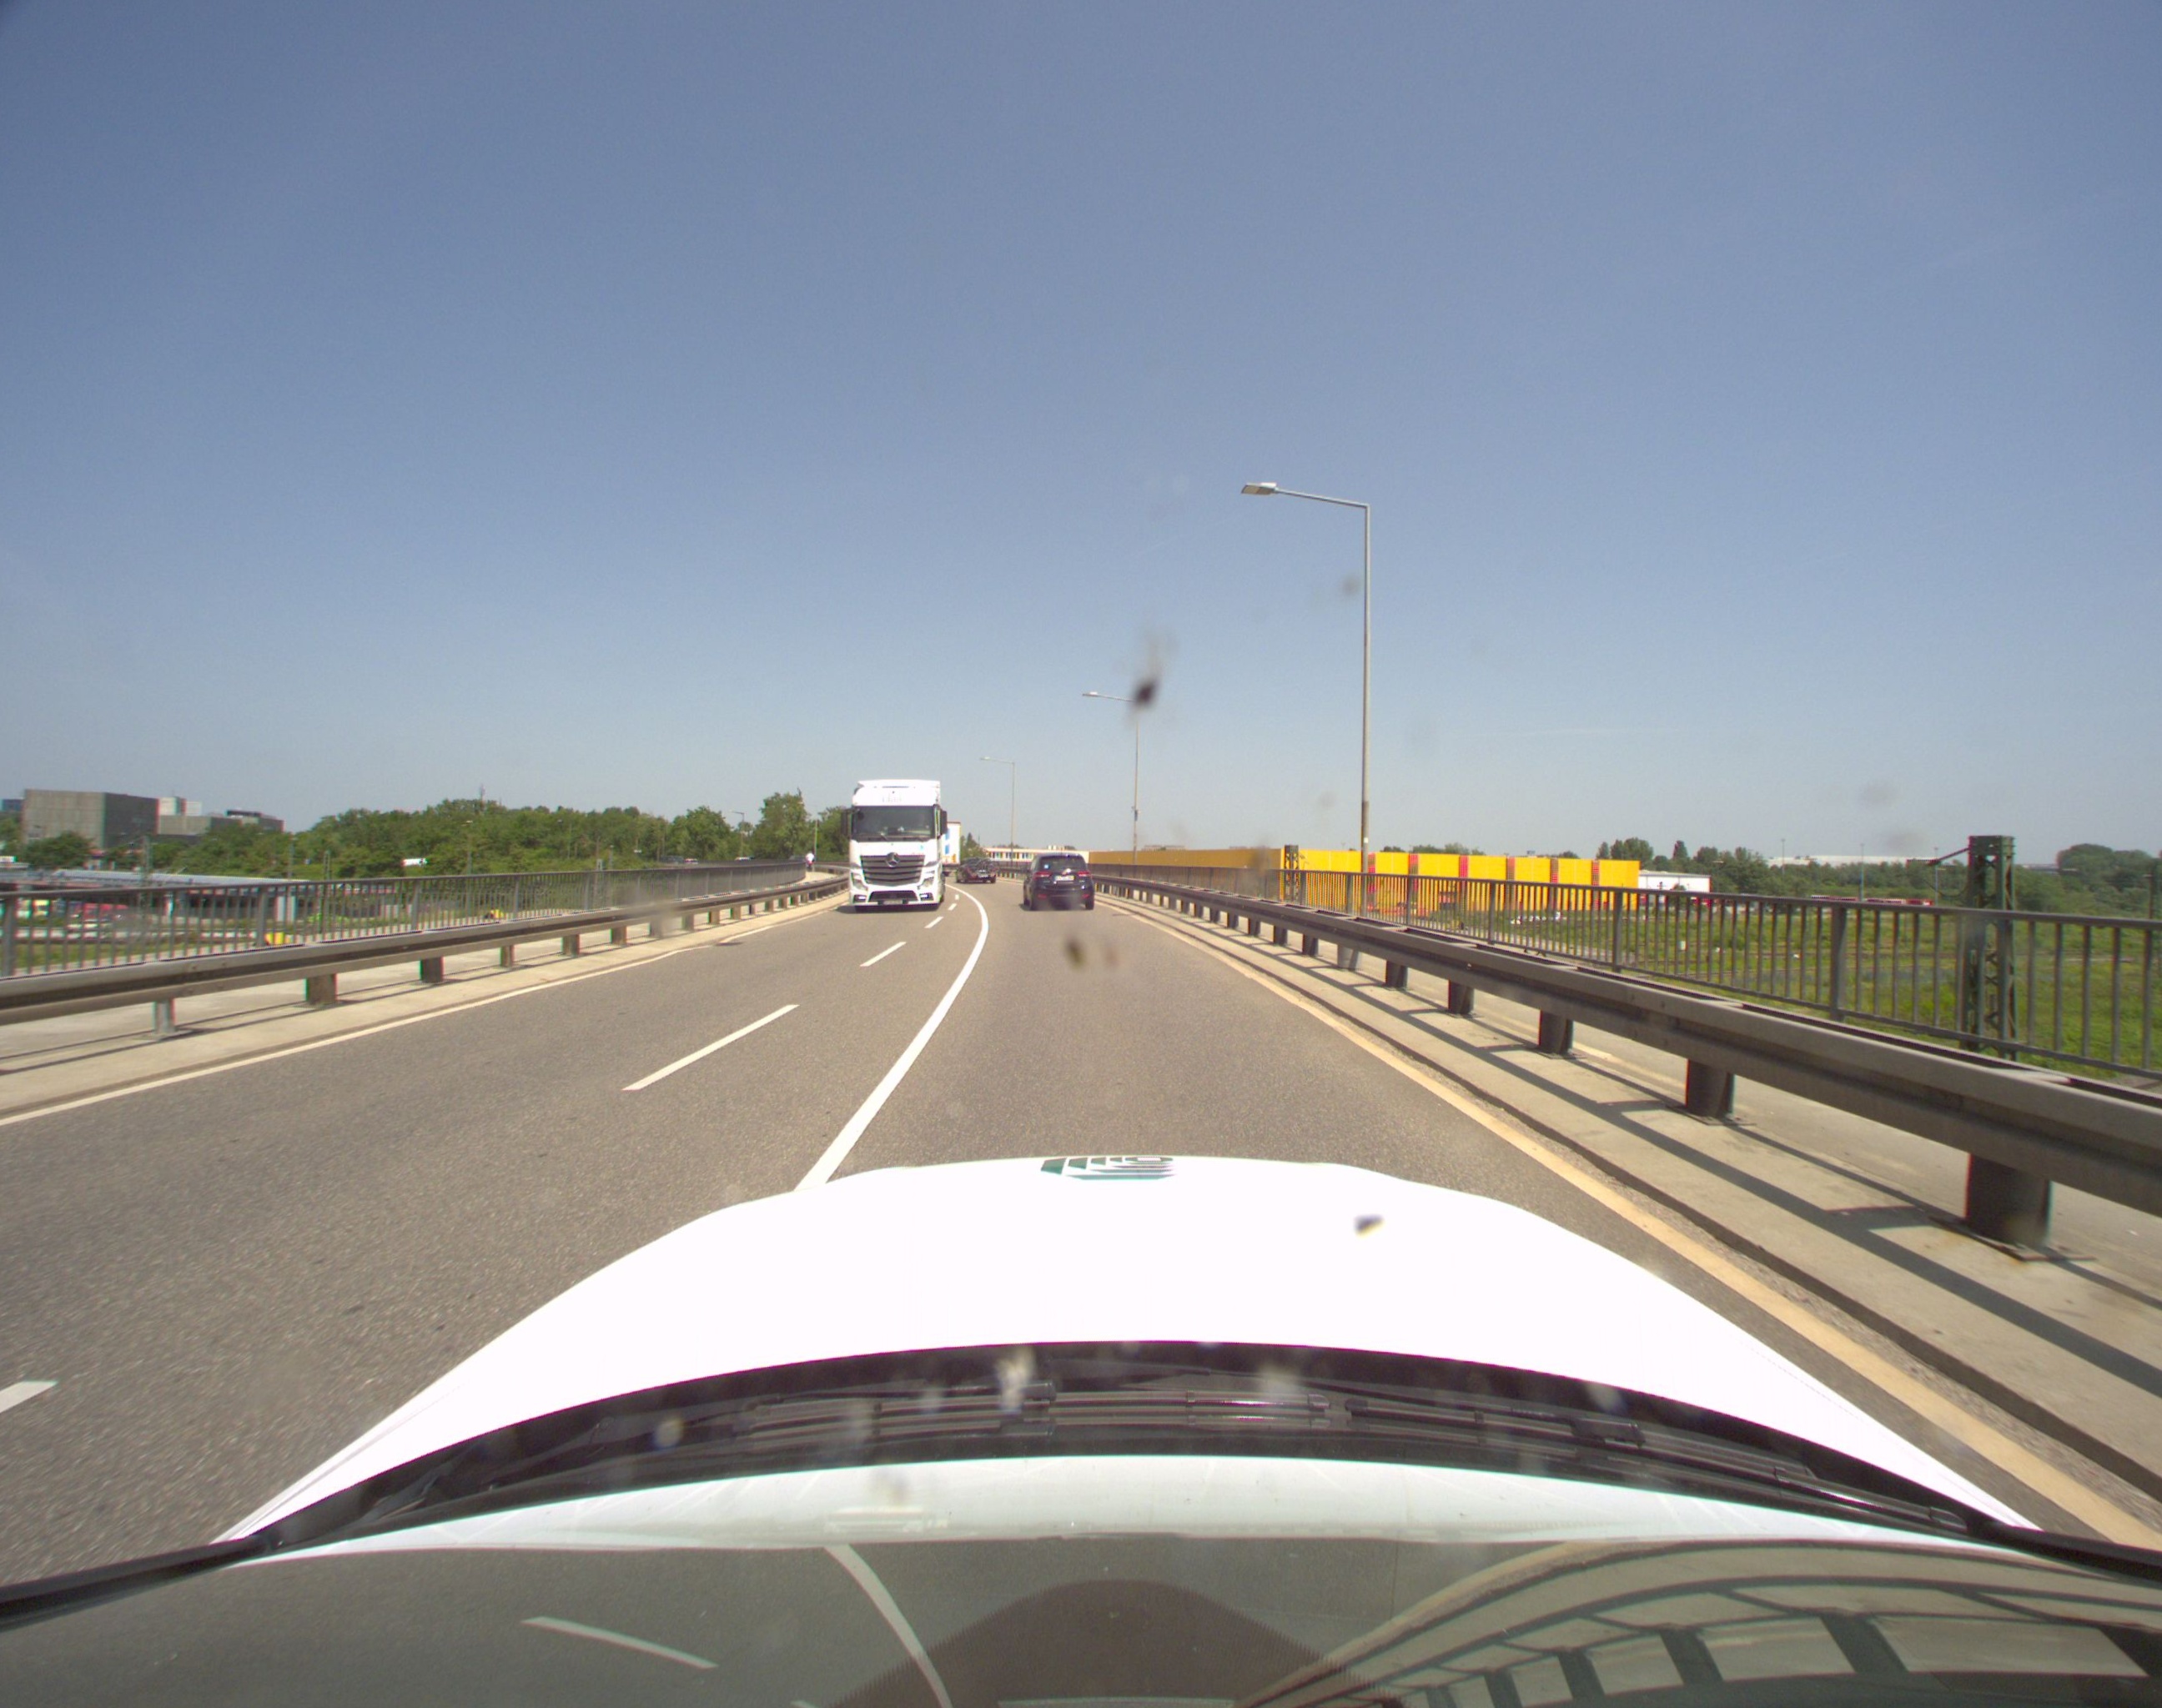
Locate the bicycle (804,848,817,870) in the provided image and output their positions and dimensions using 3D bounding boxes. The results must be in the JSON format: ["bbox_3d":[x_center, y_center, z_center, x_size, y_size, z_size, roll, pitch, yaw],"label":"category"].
[{"bbox_3d":[-22.726,0.423,68.446,0.702,1.801,2.161,0,0,-28],"label":"bicycle"}]

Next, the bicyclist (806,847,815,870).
[{"bbox_3d":[-22.789,0.385,68.573,0.628,1.886,0.706,0,0,-29],"label":"bicyclist"}]

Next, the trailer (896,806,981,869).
[{"bbox_3d":[-11.187,-1.153,62.637,3.587,4.384,11.346,0,0,-25],"label":"trailer"}]

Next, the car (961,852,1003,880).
[{"bbox_3d":[-5.472,0.638,44.725,2.012,1.429,3.763,0,0,-11],"label":"car"}]

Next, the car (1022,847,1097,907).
[{"bbox_3d":[-0.703,0.599,23.508,1.919,1.574,3.884,0,0,-6],"label":"car"}]

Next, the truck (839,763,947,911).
[{"bbox_3d":[-5.604,-0.484,25.214,2.704,3.991,6.169,0,0,-8],"label":"truck"}]
